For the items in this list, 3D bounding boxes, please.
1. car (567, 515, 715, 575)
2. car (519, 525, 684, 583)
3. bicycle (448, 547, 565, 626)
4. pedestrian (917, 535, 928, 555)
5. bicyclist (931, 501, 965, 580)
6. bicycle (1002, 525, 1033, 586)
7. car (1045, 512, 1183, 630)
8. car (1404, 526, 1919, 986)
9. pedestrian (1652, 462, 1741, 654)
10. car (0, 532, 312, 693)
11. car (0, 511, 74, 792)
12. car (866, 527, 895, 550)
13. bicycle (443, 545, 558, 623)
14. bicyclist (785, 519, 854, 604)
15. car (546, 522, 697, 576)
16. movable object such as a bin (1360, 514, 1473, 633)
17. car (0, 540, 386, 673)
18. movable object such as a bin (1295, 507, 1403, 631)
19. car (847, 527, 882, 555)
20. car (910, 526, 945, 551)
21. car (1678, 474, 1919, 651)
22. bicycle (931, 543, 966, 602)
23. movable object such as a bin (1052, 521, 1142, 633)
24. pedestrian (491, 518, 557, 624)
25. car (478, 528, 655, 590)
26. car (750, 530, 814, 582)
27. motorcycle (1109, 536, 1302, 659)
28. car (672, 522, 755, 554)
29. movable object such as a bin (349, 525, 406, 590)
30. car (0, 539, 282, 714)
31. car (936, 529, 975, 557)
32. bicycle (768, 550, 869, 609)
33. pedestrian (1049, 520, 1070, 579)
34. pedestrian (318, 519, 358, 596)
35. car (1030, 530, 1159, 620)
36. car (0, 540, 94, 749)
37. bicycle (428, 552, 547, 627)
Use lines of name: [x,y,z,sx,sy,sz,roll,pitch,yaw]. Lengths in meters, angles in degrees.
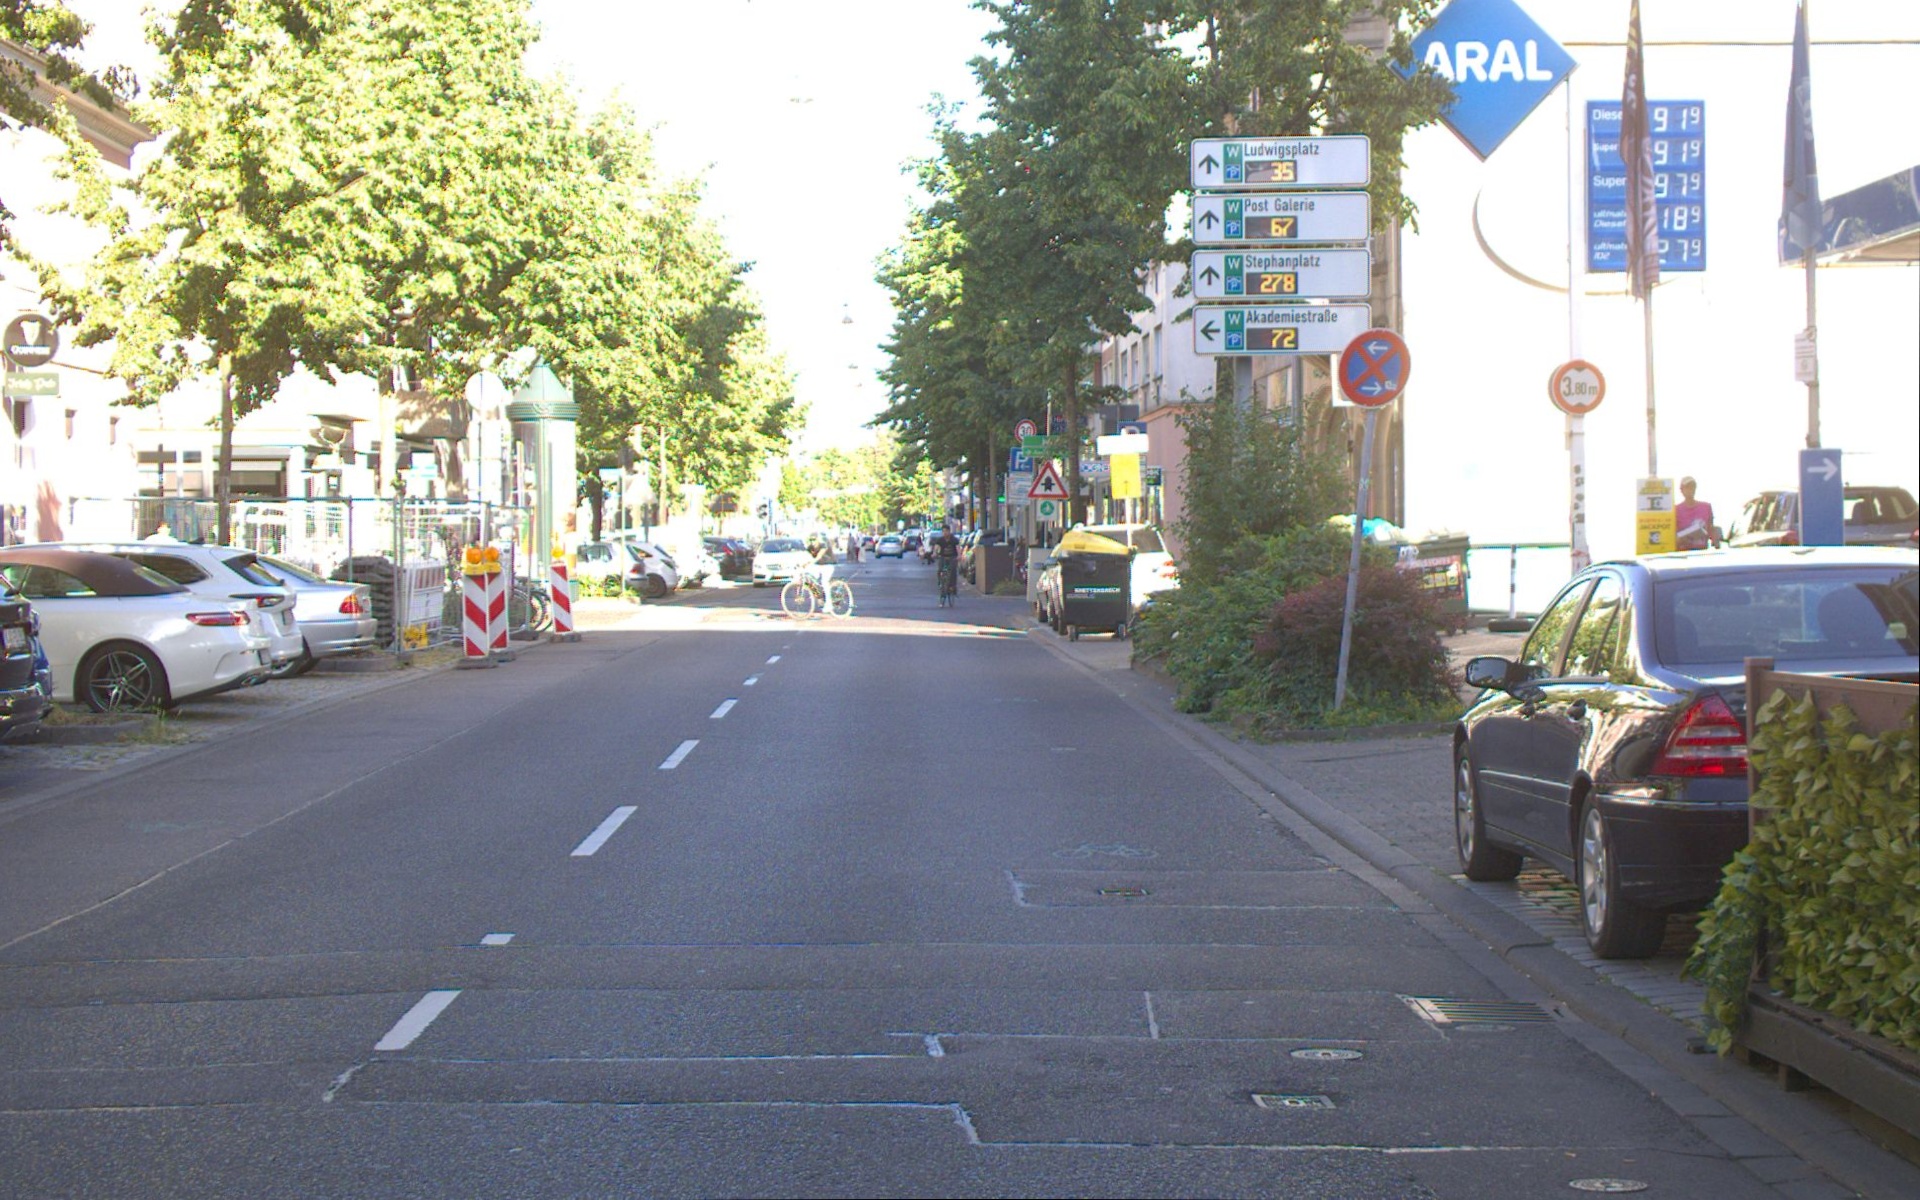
car: [-9.262,-1.606,100.006,3.987,1.688,2.000,-1,1,4]
car: [-9.055,-1.164,87.100,3.986,1.385,2.000,-1,1,-2]
bicycle: [-7.282,-0.216,55.188,1.854,1.248,0.600,0,1,-8]
pedestrian: [-1.996,-2.896,181.475,0.545,1.023,0.546,-1,1,-3]
bicyclist: [-0.260,-1.278,73.745,0.719,1.687,1.157,-1,1,-1]
bicycle: [1.419,-1.112,85.345,0.560,1.436,1.628,-7,2,-1]
car: [2.351,-0.482,53.509,1.822,1.673,4.601,-3,1,-1]
car: [3.054,0.453,13.403,1.901,1.407,4.647,-2,1,-1]
pedestrian: [7.215,-0.412,33.693,0.707,1.843,0.688,-1,1,2]
car: [-8.527,0.098,32.136,4.680,1.460,1.808,0,1,-4]
car: [-8.115,0.292,21.496,4.680,1.687,1.808,0,1,1]
car: [-5.102,-3.973,221.226,1.792,1.406,4.001,-1,2,-1]
bicycle: [-7.513,-0.262,56.199,1.854,1.248,0.600,0,1,-8]
bicyclist: [-2.611,-0.721,63.980,0.768,1.555,1.038,0,2,40]
car: [-9.563,-1.438,97.206,3.987,1.452,1.868,-1,1,4]
movable object such as a bin: [6.003,-0.360,45.295,1.270,1.525,1.177,-1,1,-3]
car: [-8.720,0.051,37.541,4.680,1.407,1.808,0,1,-4]
movable object such as a bin: [5.270,-0.429,46.654,1.205,1.622,1.498,-1,1,-3]
car: [-5.179,-3.211,186.414,1.822,1.386,4.301,-3,1,-2]
car: [-1.945,-3.669,205.984,1.993,1.503,4.000,0,1,-1]
car: [8.603,-0.406,34.455,1.901,1.642,4.294,-1,1,0]
bicycle: [-0.258,-0.601,73.756,0.719,1.215,2.036,-1,1,-1]
movable object such as a bin: [1.971,-0.343,49.324,1.143,1.556,1.459,-1,1,7]
pedestrian: [-7.079,-0.469,55.861,0.792,1.701,0.767,0,1,-34]
car: [-9.275,-0.973,81.312,3.986,1.385,2.000,-1,1,-2]
car: [-5.322,-1.332,103.194,1.802,1.430,4.410,-3,1,-2]
motorcycle: [2.767,-0.039,38.864,1.977,1.325,0.912,-1,1,-13]
car: [-12.008,-3.017,167.685,3.986,1.494,2.000,-1,1,-2]
movable object such as a bin: [-13.352,-0.981,78.836,1.140,1.480,1.236,-1,1,-3]
car: [-8.314,0.204,29.575,4.680,1.460,1.808,0,1,-4]
car: [-0.269,-3.073,186.367,1.993,1.503,4.000,0,1,-1]
bicycle: [-2.627,-0.395,63.988,0.768,1.055,1.951,0,2,40]
pedestrian: [2.778,-1.415,96.001,0.547,1.644,0.664,-1,1,0]
pedestrian: [-13.325,-0.911,73.717,0.771,1.637,0.690,-1,1,-6]
car: [2.264,-0.458,58.830,1.822,1.386,4.301,-3,1,-2]
car: [-8.853,0.294,24.942,4.680,1.458,1.808,0,1,1]
bicycle: [-7.499,-0.169,54.513,1.854,1.166,0.600,0,1,-8]
